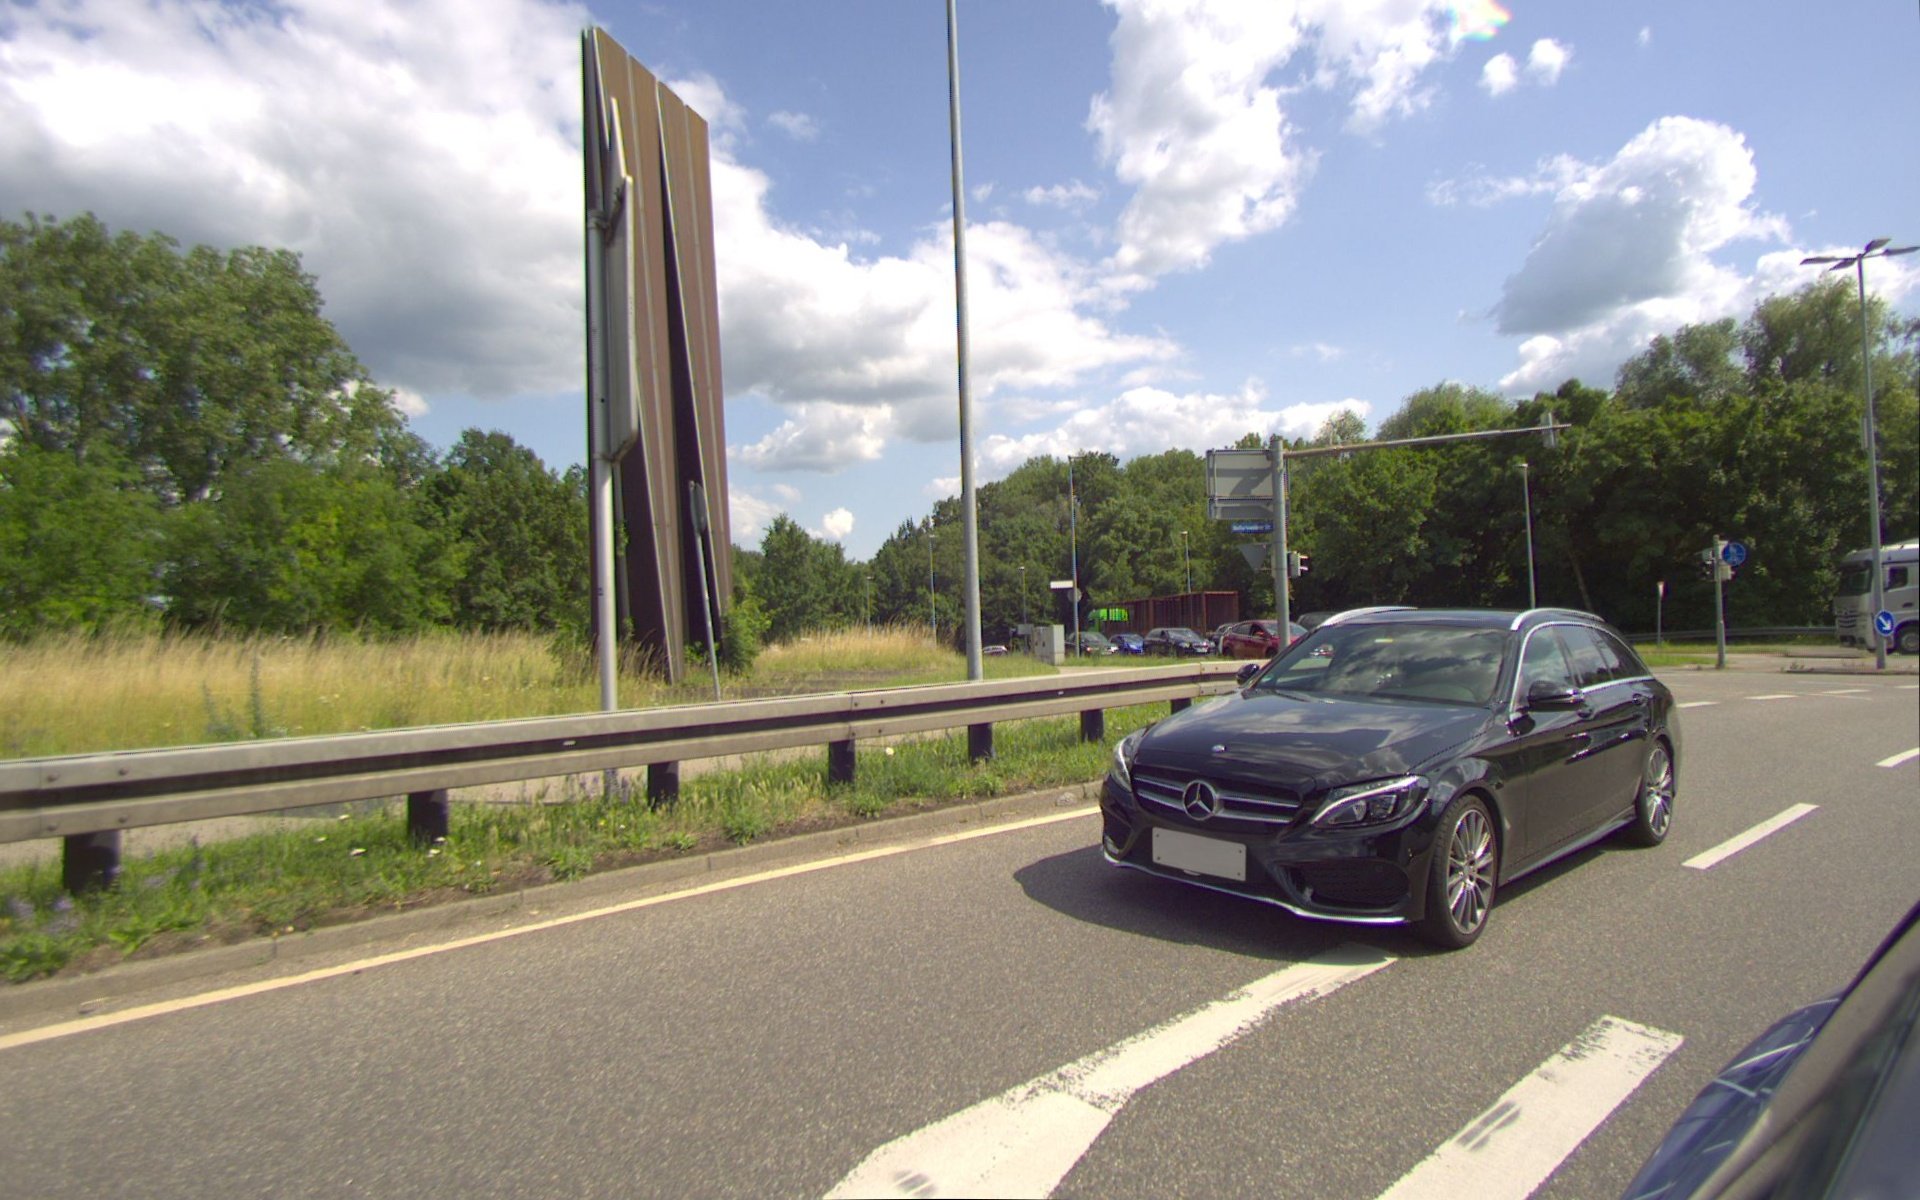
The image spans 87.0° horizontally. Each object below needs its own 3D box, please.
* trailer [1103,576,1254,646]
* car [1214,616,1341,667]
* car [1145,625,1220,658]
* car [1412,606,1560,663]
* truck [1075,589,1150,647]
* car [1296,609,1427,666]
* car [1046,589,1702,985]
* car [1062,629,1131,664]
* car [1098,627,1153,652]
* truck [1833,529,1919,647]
[{"bbox_3d":[13.709,0.917,65.698,2.592,3.942,13.868,0,-3,-20],"label":"trailer"},{"bbox_3d":[9.251,1.212,29.884,1.722,1.393,4.222,0,-2,-12],"label":"car"},{"bbox_3d":[9.856,1.821,45.142,1.665,1.393,4.222,0,-2,-12],"label":"car"},{"bbox_3d":[16.605,1.097,32.215,1.807,1.637,4.301,-2,-2,-12],"label":"car"},{"bbox_3d":[10.911,1.375,73.188,2.817,3.955,5.886,0,-3,-19],"label":"truck"},{"bbox_3d":[12.574,1.161,32.040,1.799,1.667,4.222,0,-2,-12],"label":"car"},{"bbox_3d":[2.634,0.687,5.853,4.294,1.454,1.793,-1,-1,-42],"label":"car"},{"bbox_3d":[6.215,2.134,46.447,1.828,1.483,4.006,-2,-2,-13],"label":"car"},{"bbox_3d":[9.565,2.285,58.870,1.841,1.393,4.055,0,-2,-12],"label":"car"},{"bbox_3d":[34.189,-0.414,33.927,6.729,3.895,2.761,-1,-2,18],"label":"truck"}]
